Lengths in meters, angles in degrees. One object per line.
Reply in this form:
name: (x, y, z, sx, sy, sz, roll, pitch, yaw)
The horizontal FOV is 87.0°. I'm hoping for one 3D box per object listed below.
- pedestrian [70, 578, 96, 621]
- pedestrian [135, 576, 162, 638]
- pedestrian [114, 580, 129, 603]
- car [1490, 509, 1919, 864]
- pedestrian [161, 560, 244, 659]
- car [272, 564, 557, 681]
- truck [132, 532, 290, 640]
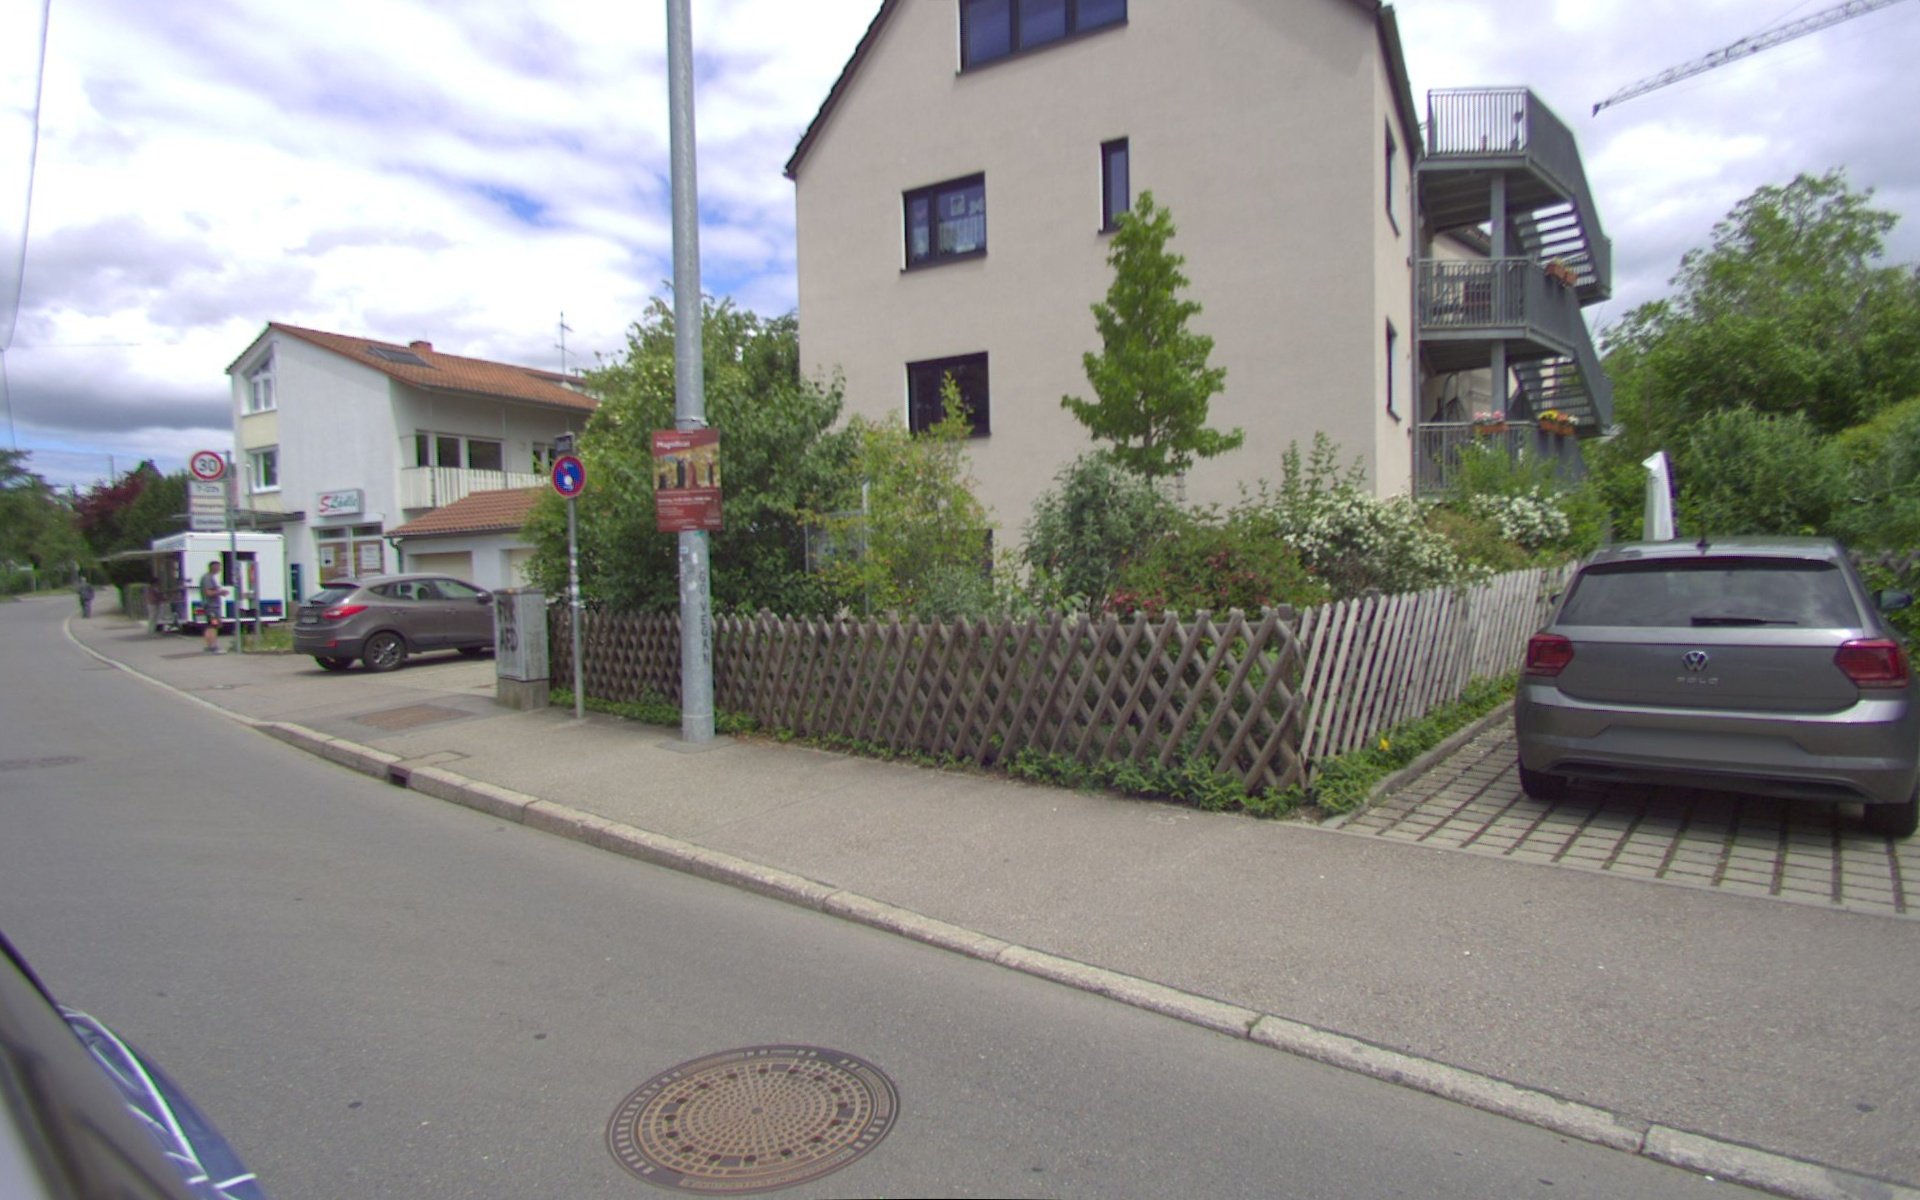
pedestrian: (-37.729, -0.032, 43.543, 0.714, 1.698, 1.111, -5, 9, -42)
pedestrian: (-22.998, 0.199, 28.675, 0.597, 1.707, 0.397, 1, 5, 42)
pedestrian: (-67.673, -0.684, 81.699, 0.809, 1.757, 0.606, -5, 4, -37)
car: (4.644, 0.238, 6.058, 1.817, 1.444, 3.634, 1, 5, 41)
pedestrian: (-15.860, 0.172, 21.204, 1.199, 1.960, 0.736, -6, 5, -43)
car: (-9.963, 0.308, 18.838, 1.792, 1.708, 4.279, 0, 4, 32)
truck: (-22.355, -0.474, 30.071, 6.707, 2.861, 2.447, 1, 3, 42)
